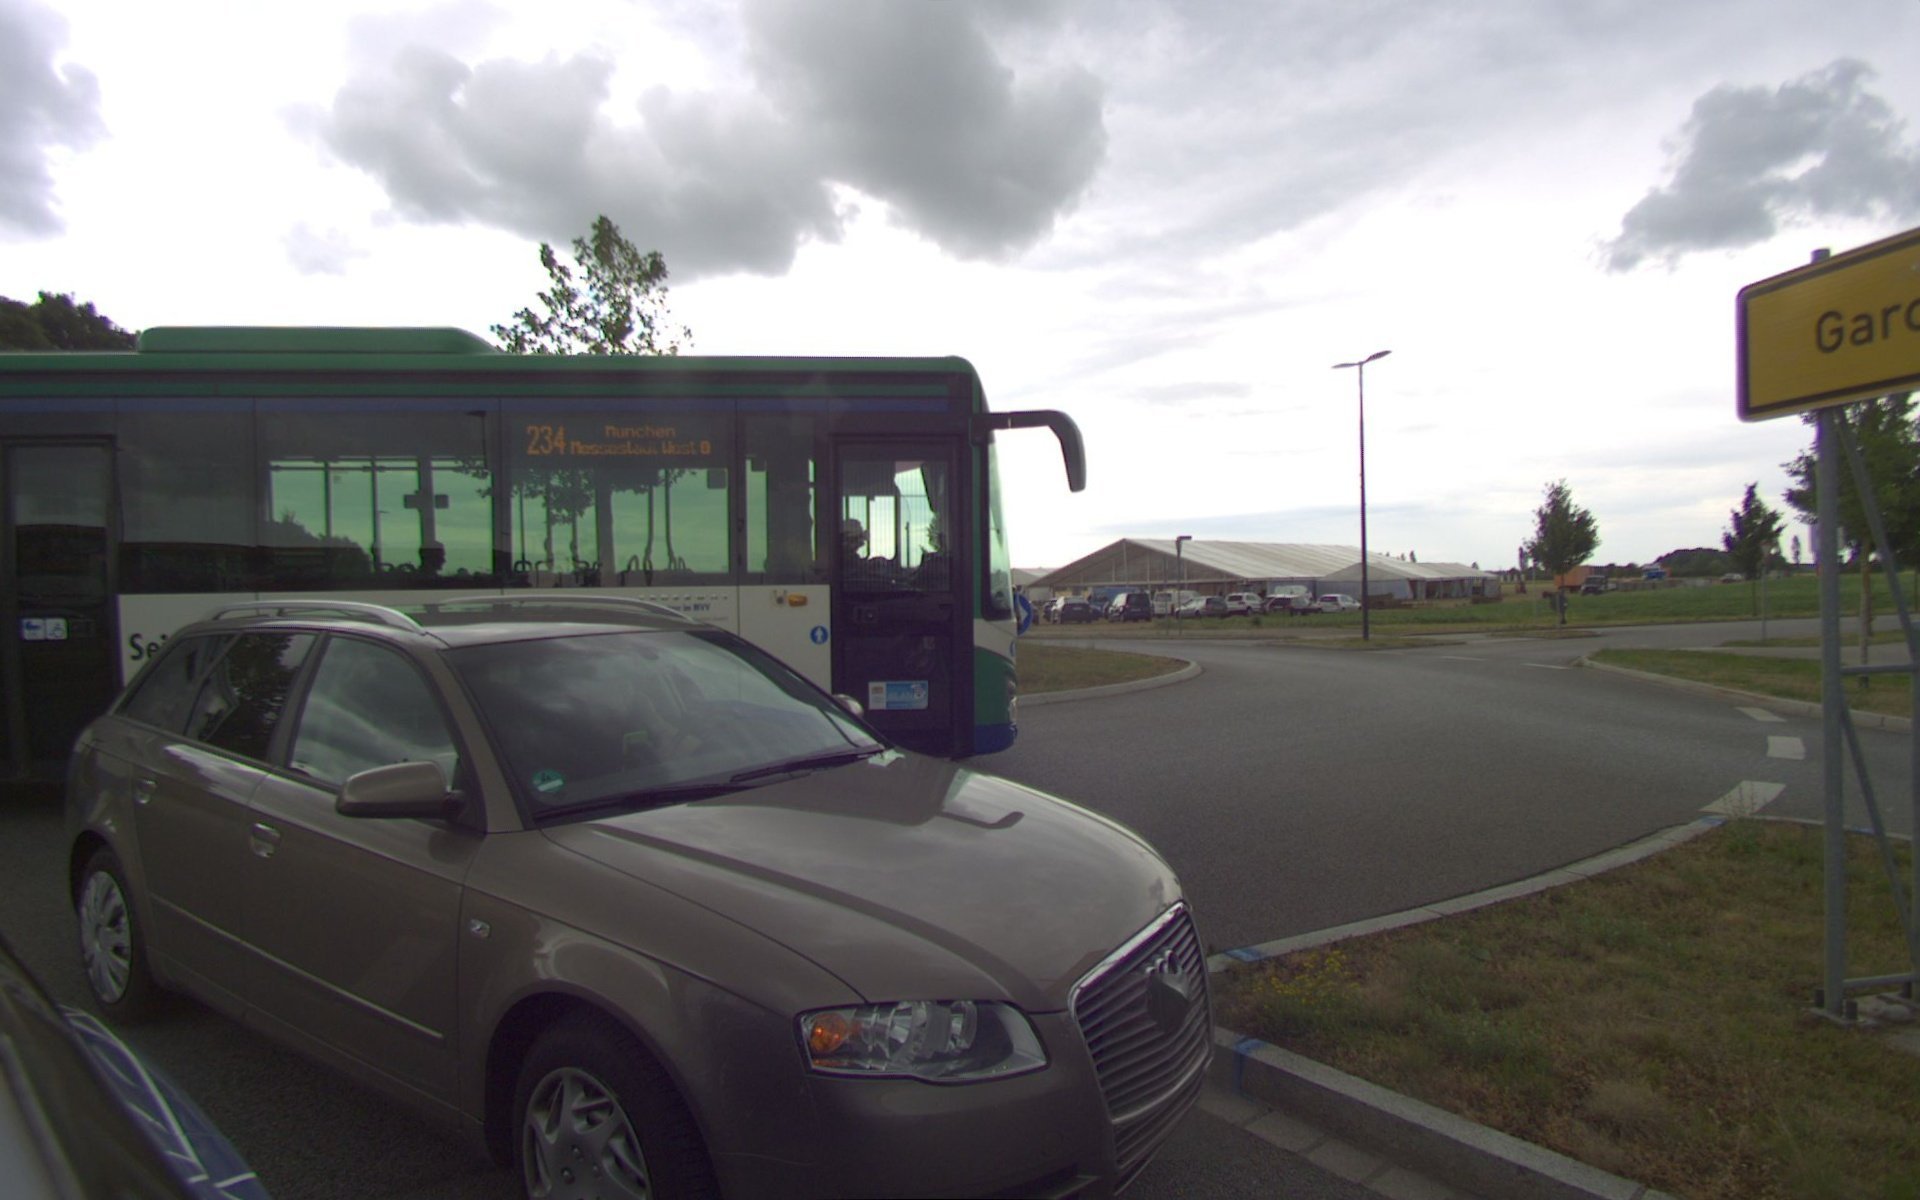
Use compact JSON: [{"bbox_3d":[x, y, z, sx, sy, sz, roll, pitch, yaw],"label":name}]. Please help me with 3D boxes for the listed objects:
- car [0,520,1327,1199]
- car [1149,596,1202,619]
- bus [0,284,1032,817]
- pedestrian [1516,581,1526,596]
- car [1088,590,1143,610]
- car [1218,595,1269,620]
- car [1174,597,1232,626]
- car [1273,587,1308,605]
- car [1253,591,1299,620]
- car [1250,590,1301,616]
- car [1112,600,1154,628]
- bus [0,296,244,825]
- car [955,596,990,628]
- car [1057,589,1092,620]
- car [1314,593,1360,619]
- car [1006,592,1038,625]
[{"bbox_3d":[-1.343,0.659,3.342,4.527,1.476,1.764,-1,0,33],"label":"car"},{"bbox_3d":[15.194,0.523,71.119,1.951,1.453,3.946,-1,1,41],"label":"car"},{"bbox_3d":[-2.849,-0.309,7.672,6.451,3.283,2.527,0,0,-3],"label":"bus"},{"bbox_3d":[75.684,-1.519,136.630,1.049,2.029,1.049,-1,0,34],"label":"pedestrian"},{"bbox_3d":[11.927,-0.012,77.568,3.933,1.453,1.957,-2,0,-34],"label":"car"},{"bbox_3d":[19.320,0.487,68.932,1.835,1.618,3.776,-1,0,42],"label":"car"},{"bbox_3d":[14.664,0.684,61.339,1.705,1.618,3.887,-2,0,-15],"label":"car"},{"bbox_3d":[32.200,-0.370,98.594,1.835,1.618,3.776,-1,1,42],"label":"car"},{"bbox_3d":[18.981,0.320,60.945,1.613,1.618,3.875,-2,0,1],"label":"car"},{"bbox_3d":[20.973,0.204,67.165,1.835,1.618,3.776,-1,0,42],"label":"car"},{"bbox_3d":[9.874,0.789,58.006,1.926,1.453,3.996,-1,0,3],"label":"car"},{"bbox_3d":[-8.718,-0.235,7.235,5.379,3.283,2.527,0,0,-4],"label":"bus"},{"bbox_3d":[0.723,0.650,57.336,1.694,1.564,3.996,-4,2,4],"label":"car"},{"bbox_3d":[6.574,0.229,58.466,1.694,1.564,3.996,-4,2,4],"label":"car"},{"bbox_3d":[24.256,0.384,65.042,1.729,1.565,3.950,-1,0,37],"label":"car"},{"bbox_3d":[3.520,0.465,57.435,1.694,1.564,3.996,-4,2,4],"label":"car"}]
